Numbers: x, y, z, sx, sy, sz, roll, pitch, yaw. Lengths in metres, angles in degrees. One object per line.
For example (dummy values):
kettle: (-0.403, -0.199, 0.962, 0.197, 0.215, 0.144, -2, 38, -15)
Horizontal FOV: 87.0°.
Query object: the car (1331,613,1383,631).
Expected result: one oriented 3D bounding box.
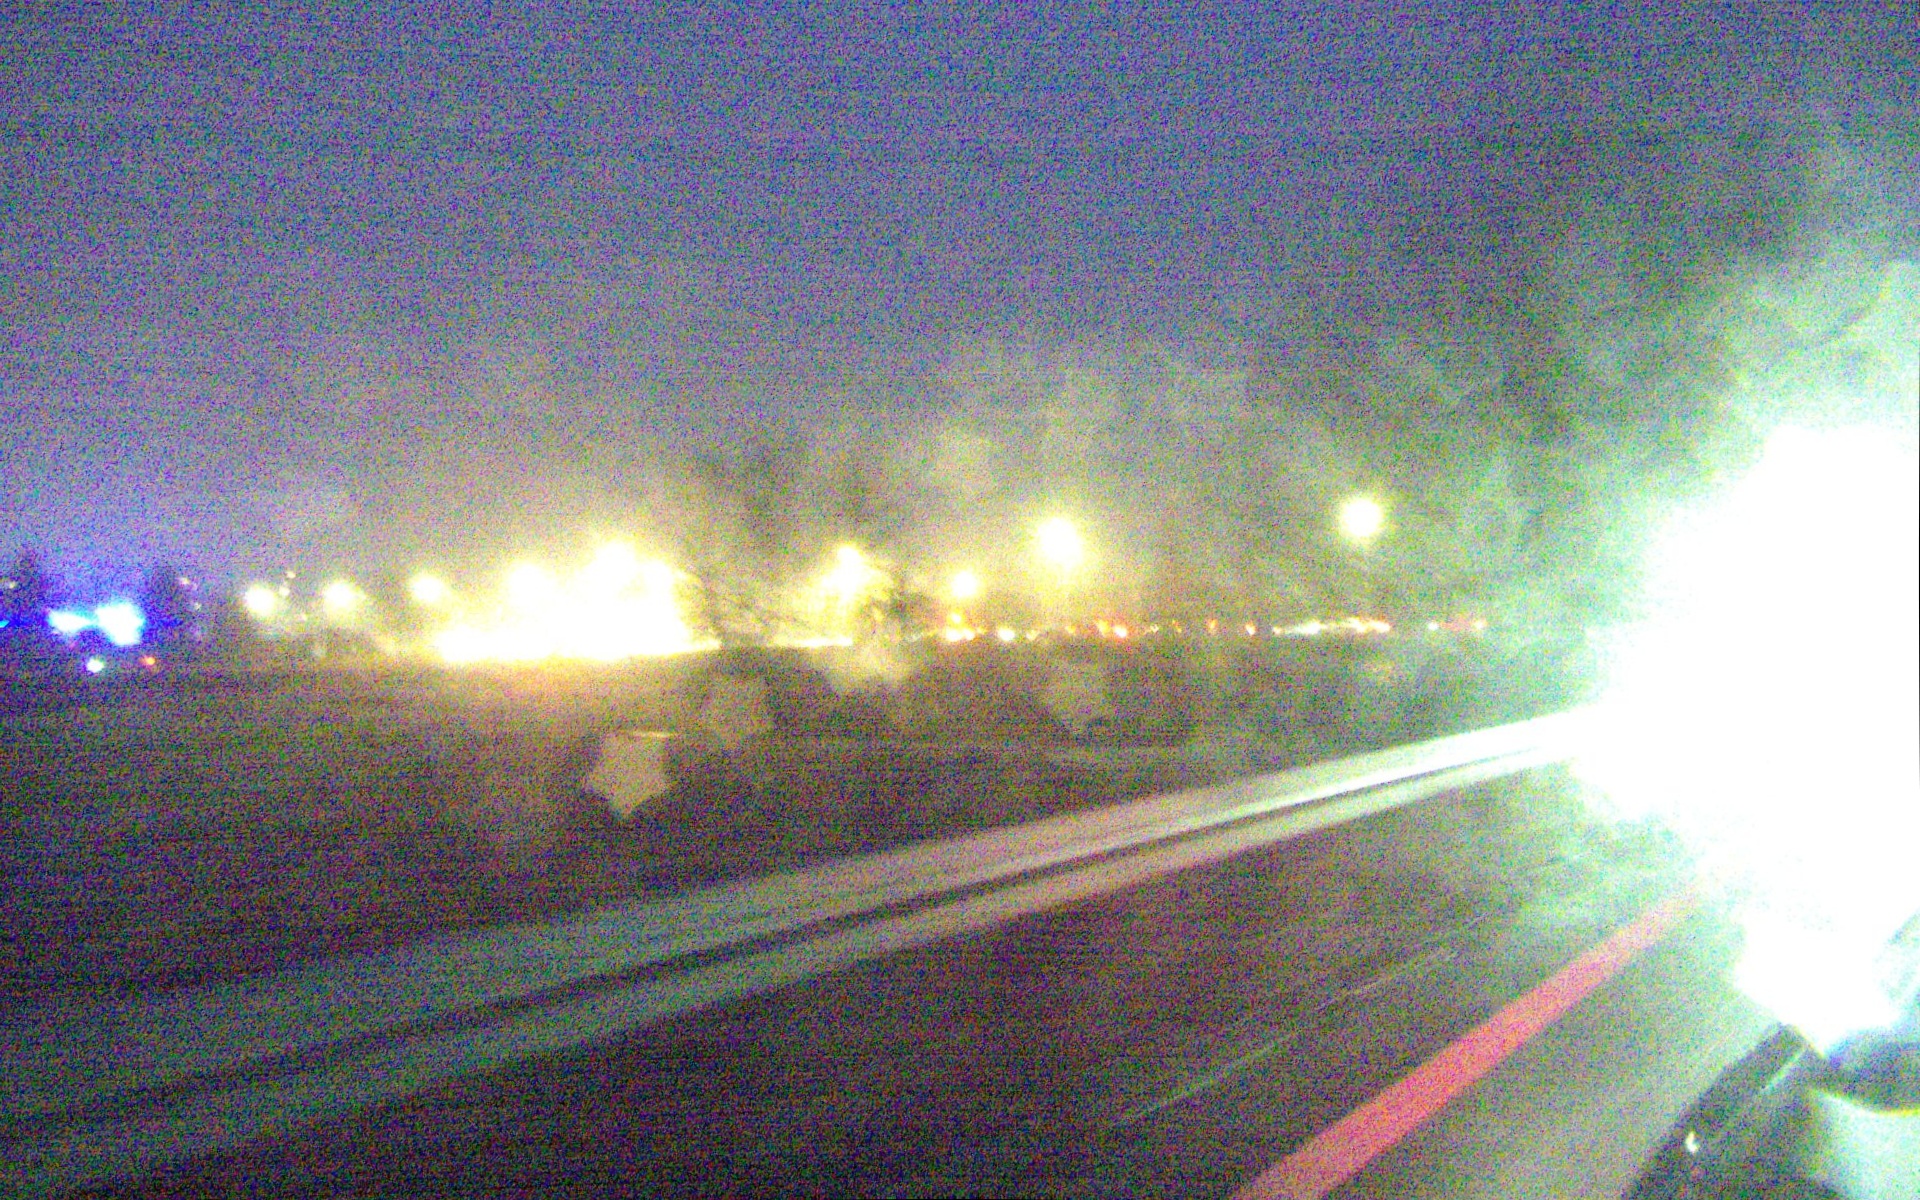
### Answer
car: (34.097, 1.909, 86.943, 3.969, 1.460, 1.698, -3, -4, 33)
